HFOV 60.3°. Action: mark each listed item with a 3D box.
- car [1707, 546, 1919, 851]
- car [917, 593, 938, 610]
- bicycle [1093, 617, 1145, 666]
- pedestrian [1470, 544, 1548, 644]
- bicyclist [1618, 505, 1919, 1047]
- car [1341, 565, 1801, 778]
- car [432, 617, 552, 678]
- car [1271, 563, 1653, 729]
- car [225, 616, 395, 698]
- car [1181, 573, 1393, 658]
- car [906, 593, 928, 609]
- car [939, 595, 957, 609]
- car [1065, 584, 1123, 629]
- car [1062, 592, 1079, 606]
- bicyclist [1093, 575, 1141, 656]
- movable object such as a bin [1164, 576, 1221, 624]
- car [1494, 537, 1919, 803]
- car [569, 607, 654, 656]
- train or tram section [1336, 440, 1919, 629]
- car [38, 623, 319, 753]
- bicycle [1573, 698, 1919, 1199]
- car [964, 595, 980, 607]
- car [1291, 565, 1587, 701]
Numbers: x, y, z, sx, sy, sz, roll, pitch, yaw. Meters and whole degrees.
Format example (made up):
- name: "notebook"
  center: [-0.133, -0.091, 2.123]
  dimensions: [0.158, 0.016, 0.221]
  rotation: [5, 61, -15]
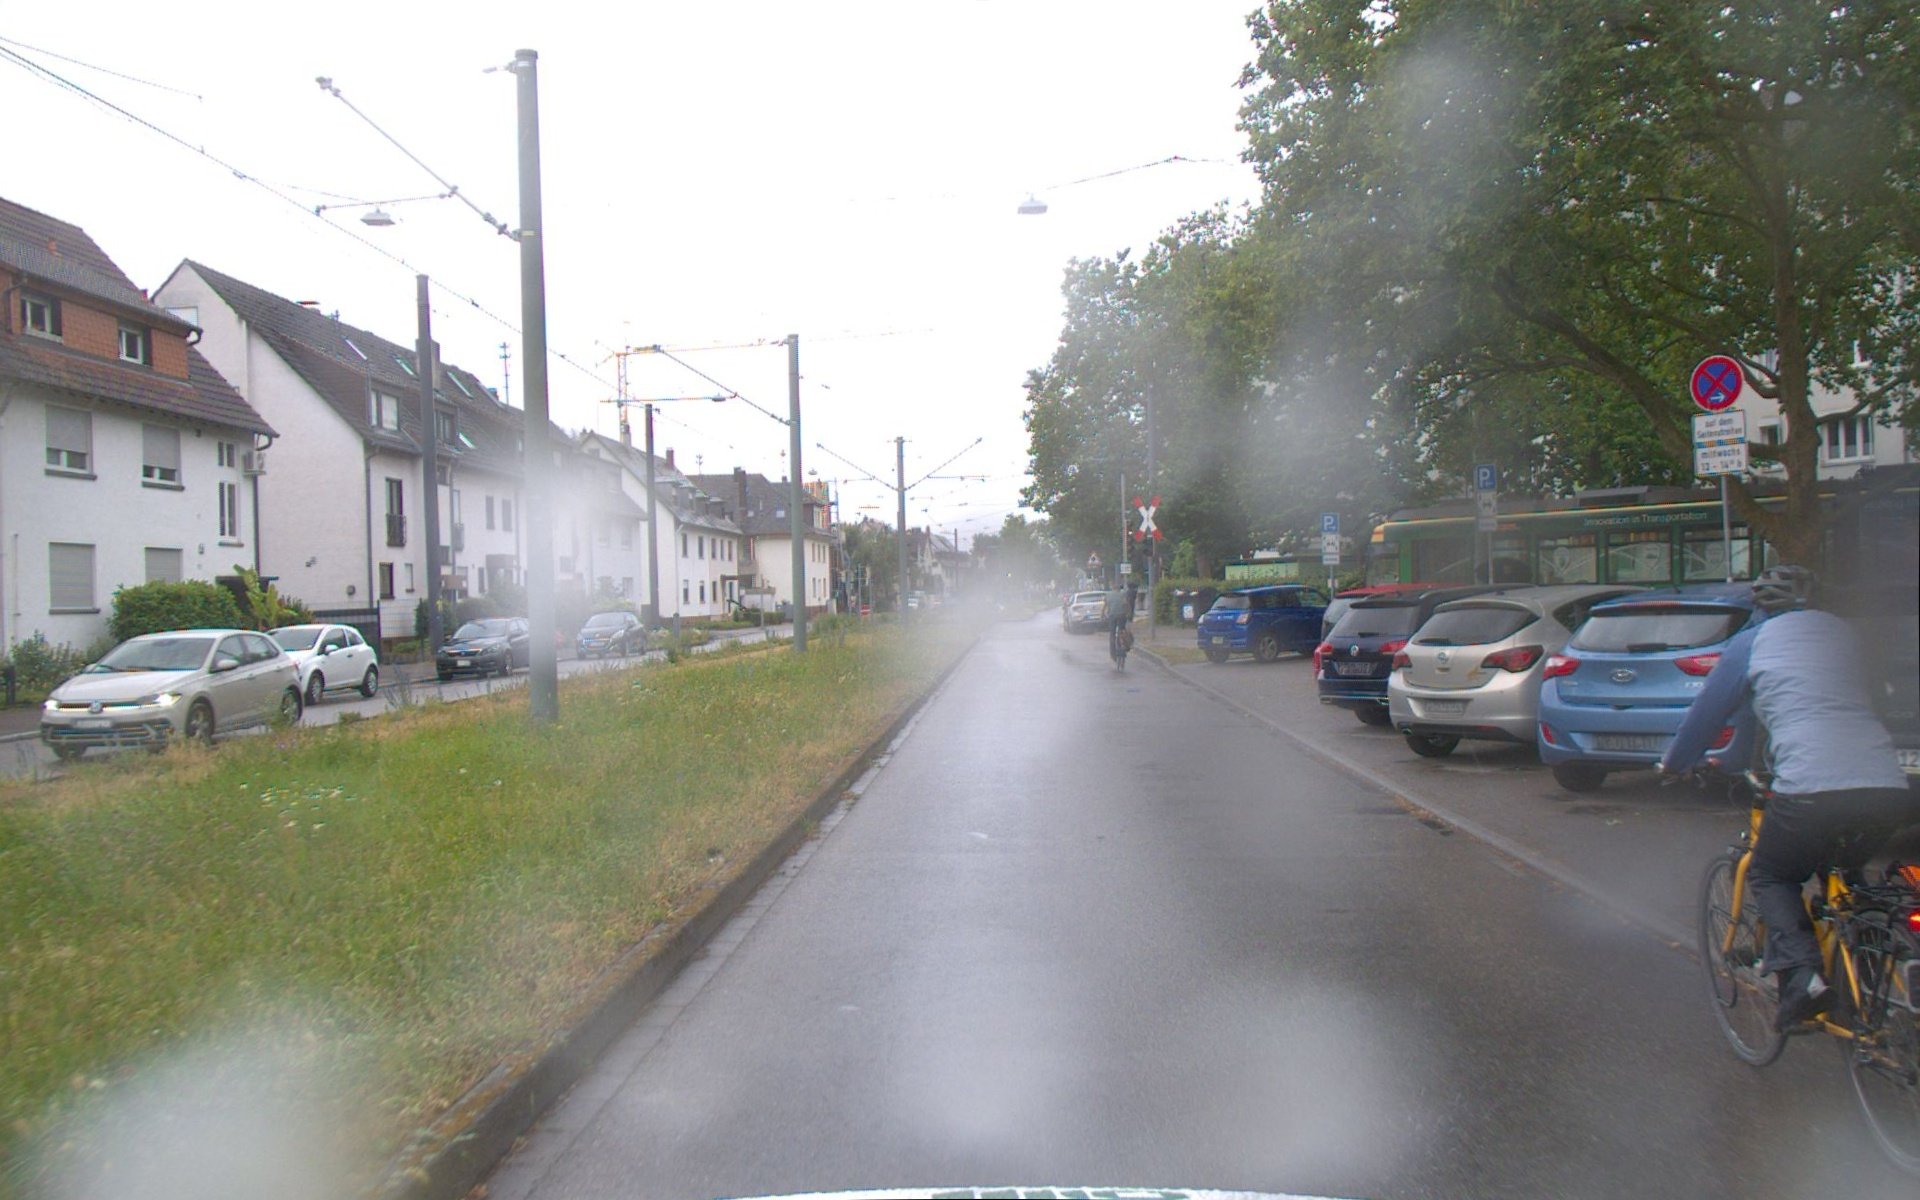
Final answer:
- name: "car"
  center: [6.158, 0.418, 9.548]
  dimensions: [3.475, 1.532, 1.734]
  rotation: [-4, 0, -34]
- name: "car"
  center: [-3.654, 0.221, 186.440]
  dimensions: [1.952, 1.735, 4.001]
  rotation: [-2, -2, 3]
- name: "bicycle"
  center: [3.218, 0.839, 33.619]
  dimensions: [0.804, 0.928, 1.985]
  rotation: [-3, -1, -1]
- name: "pedestrian"
  center: [10.068, -0.108, 30.375]
  dimensions: [1.023, 1.744, 1.080]
  rotation: [-3, 0, 2]
- name: "bicyclist"
  center: [2.555, 0.485, 5.070]
  dimensions: [0.735, 1.511, 0.847]
  rotation: [-2, 1, 3]
- name: "car"
  center: [5.699, 0.599, 15.338]
  dimensions: [3.949, 1.580, 1.939]
  rotation: [-3, -1, -32]
- name: "car"
  center: [-12.090, 1.241, 43.023]
  dimensions: [1.567, 1.448, 4.667]
  rotation: [-2, -2, 3]
- name: "car"
  center: [5.738, 0.469, 18.817]
  dimensions: [4.067, 1.505, 1.847]
  rotation: [-4, 1, -30]
- name: "car"
  center: [-12.545, 1.106, 32.163]
  dimensions: [1.567, 1.448, 3.944]
  rotation: [-2, -2, 2]
- name: "car"
  center: [6.722, 0.273, 33.995]
  dimensions: [3.945, 1.509, 1.980]
  rotation: [-3, 2, -30]
- name: "car"
  center: [-4.685, 0.094, 179.985]
  dimensions: [1.952, 1.571, 4.001]
  rotation: [-2, -2, 3]
- name: "car"
  center: [-1.480, 0.261, 211.941]
  dimensions: [1.952, 1.571, 4.001]
  rotation: [-2, -2, 3]
- name: "car"
  center: [5.169, 0.276, 64.264]
  dimensions: [1.914, 1.580, 4.000]
  rotation: [-4, -1, 1]
- name: "car"
  center: [12.986, -0.097, 194.455]
  dimensions: [1.952, 1.518, 4.001]
  rotation: [-2, -2, 2]
- name: "bicyclist"
  center: [3.189, 0.313, 33.604]
  dimensions: [0.814, 1.585, 0.914]
  rotation: [-3, -1, -1]
- name: "movable object such as a bin"
  center: [8.698, 0.008, 61.949]
  dimensions: [1.527, 1.733, 1.491]
  rotation: [-3, 0, -21]
- name: "car"
  center: [6.032, 0.429, 12.540]
  dimensions: [3.961, 1.526, 1.799]
  rotation: [-6, 0, -38]
- name: "car"
  center: [-11.646, 1.090, 55.522]
  dimensions: [1.838, 1.530, 4.134]
  rotation: [-2, -2, 2]
- name: "train or tram section"
  center: [15.712, -1.213, 39.276]
  dimensions: [2.690, 3.653, 14.520]
  rotation: [0, -1, -40]
- name: "car"
  center: [-9.718, 1.071, 20.904]
  dimensions: [1.567, 1.448, 3.821]
  rotation: [-2, -2, 3]
- name: "bicycle"
  center: [2.572, 0.940, 5.071]
  dimensions: [0.737, 1.091, 1.928]
  rotation: [-2, 1, 3]
- name: "car"
  center: [1.744, 0.155, 237.525]
  dimensions: [1.952, 1.571, 4.001]
  rotation: [-2, -2, 3]
- name: "car"
  center: [6.384, 0.408, 22.037]
  dimensions: [3.541, 1.505, 1.625]
  rotation: [-4, 1, -24]
